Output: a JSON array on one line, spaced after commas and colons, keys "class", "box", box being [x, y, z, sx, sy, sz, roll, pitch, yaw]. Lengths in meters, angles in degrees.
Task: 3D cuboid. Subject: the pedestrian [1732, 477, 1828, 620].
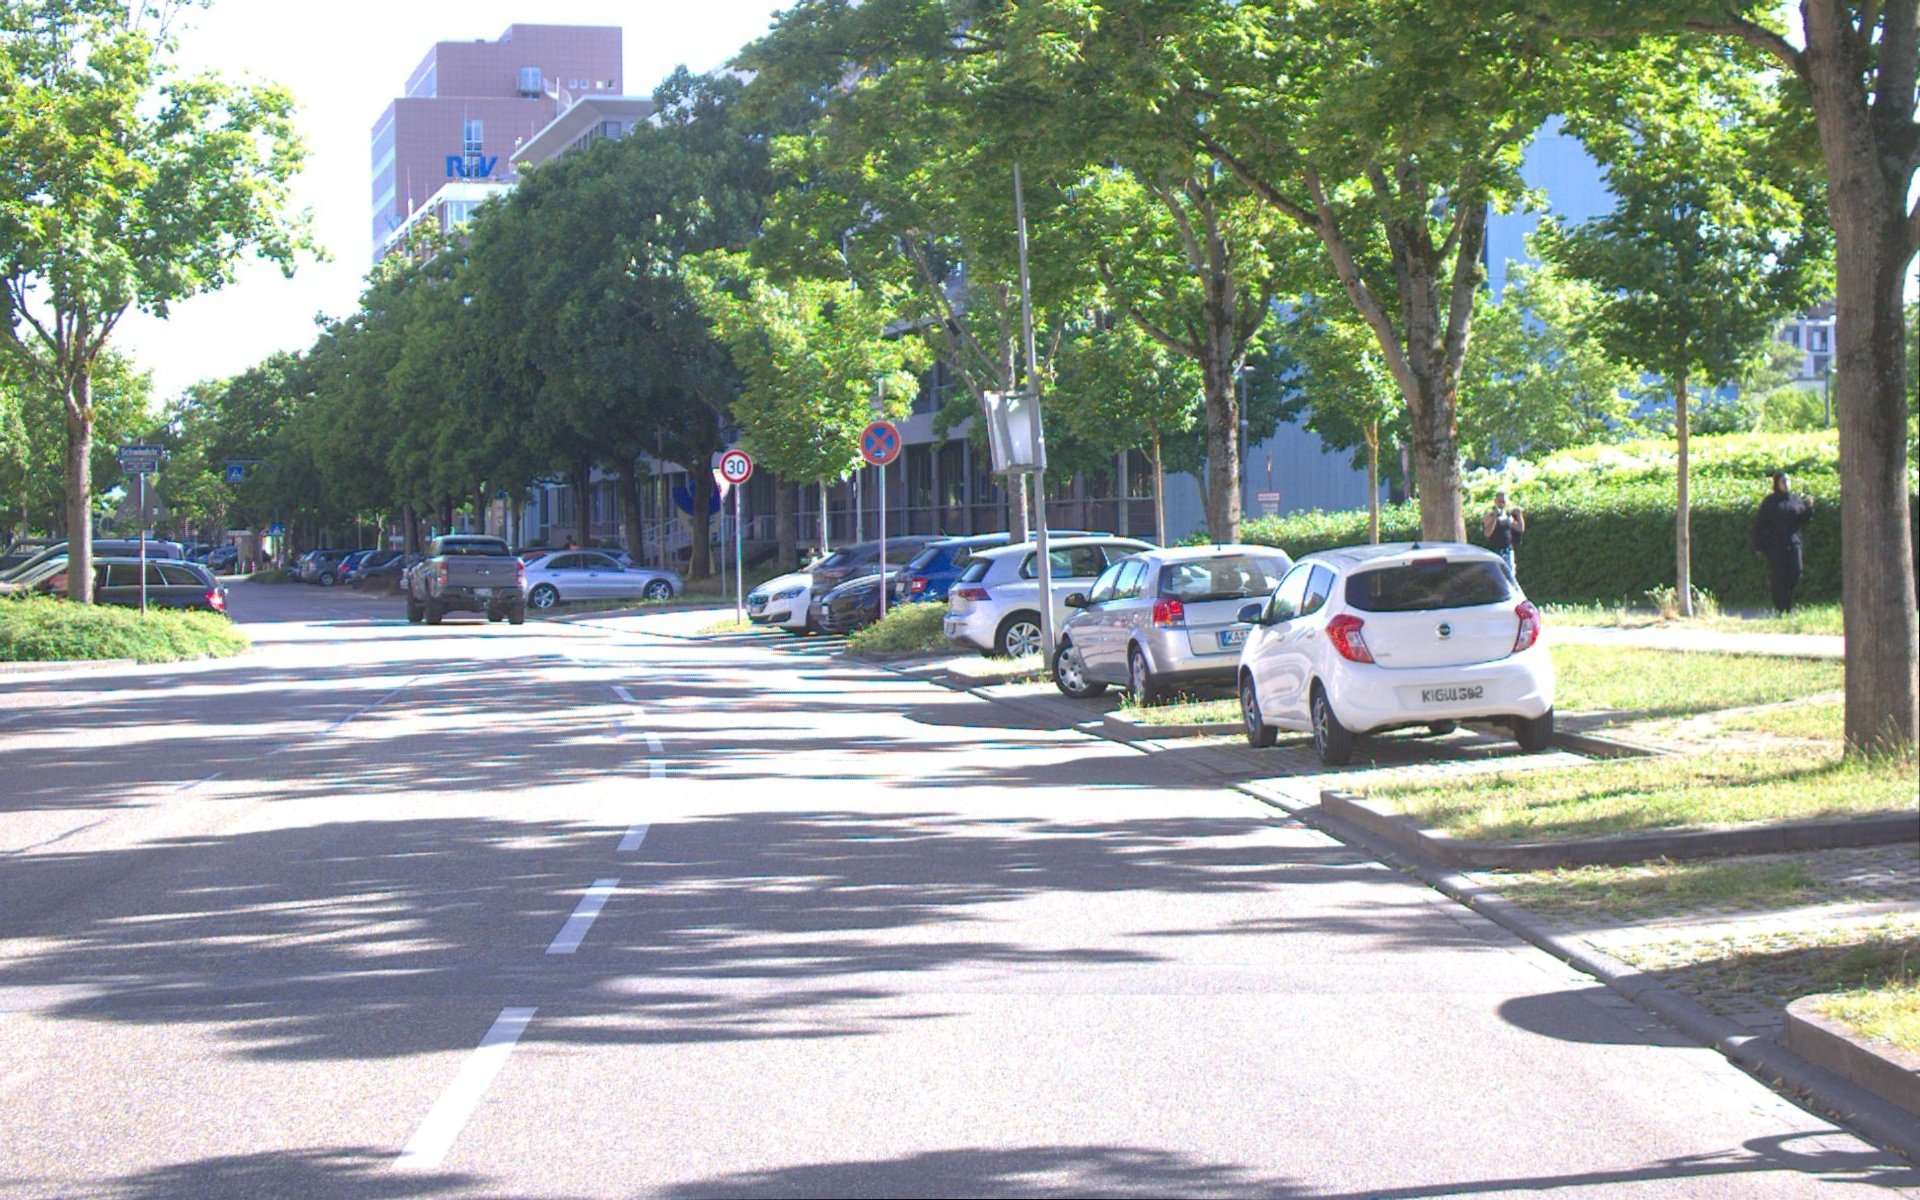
[{"class": "pedestrian", "box": [9.242, -0.584, 38.761, 0.723, 1.582, 0.853, -1, 1, -13]}]

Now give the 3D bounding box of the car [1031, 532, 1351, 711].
[{"class": "car", "box": [2.121, 0.164, 32.990, 1.808, 1.488, 4.625, -4, 1, -12]}]

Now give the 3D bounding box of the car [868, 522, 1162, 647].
[{"class": "car", "box": [0.774, -0.232, 49.221, 3.804, 1.443, 1.745, -5, 1, -12]}]

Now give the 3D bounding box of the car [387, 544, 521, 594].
[{"class": "car", "box": [-16.157, -0.986, 109.806, 3.968, 1.415, 1.711, -3, 1, -16]}]

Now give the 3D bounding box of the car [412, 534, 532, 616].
[{"class": "car", "box": [-10.160, -0.519, 71.399, 1.993, 1.634, 4.001, 1, 0, -15]}]

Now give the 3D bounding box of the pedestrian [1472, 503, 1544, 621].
[{"class": "pedestrian", "box": [7.228, -0.505, 45.373, 0.606, 1.537, 0.937, -1, 1, -13]}]

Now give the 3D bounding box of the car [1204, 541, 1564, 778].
[{"class": "car", "box": [2.987, 0.369, 24.960, 1.643, 1.488, 3.766, -4, 1, -7]}]

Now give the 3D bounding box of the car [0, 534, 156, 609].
[{"class": "car", "box": [-25.589, -0.825, 99.474, 4.486, 2.083, 2.083, 1, 0, -12]}]

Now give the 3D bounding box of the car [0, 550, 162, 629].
[{"class": "car", "box": [-16.754, -0.205, 63.456, 3.890, 1.419, 1.740, 1, 0, -14]}]

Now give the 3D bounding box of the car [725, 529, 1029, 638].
[{"class": "car", "box": [-1.371, -0.279, 56.780, 4.548, 1.509, 1.983, -4, 1, -20]}]

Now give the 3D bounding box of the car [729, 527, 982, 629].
[{"class": "car", "box": [-1.813, -0.377, 59.361, 3.947, 1.509, 1.702, -4, 1, -20]}]

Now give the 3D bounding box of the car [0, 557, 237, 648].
[{"class": "car", "box": [-14.018, 0.039, 56.189, 4.261, 1.419, 1.740, 1, 0, -11]}]

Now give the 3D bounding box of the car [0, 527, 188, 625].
[{"class": "car", "box": [-16.815, -0.461, 65.851, 3.890, 1.805, 1.786, 1, 0, -14]}]

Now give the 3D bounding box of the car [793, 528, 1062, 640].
[{"class": "car", "box": [-0.523, -0.261, 54.347, 3.874, 1.509, 1.751, -4, 1, -14]}]

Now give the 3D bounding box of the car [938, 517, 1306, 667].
[{"class": "car", "box": [1.915, -0.109, 41.275, 4.088, 1.424, 1.643, -5, 1, -7]}]

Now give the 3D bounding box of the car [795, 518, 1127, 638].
[{"class": "car", "box": [-0.007, -0.331, 51.845, 4.548, 1.509, 2.159, -4, 1, -14]}]

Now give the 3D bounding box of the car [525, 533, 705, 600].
[{"class": "car", "box": [-9.095, -0.894, 90.580, 4.514, 1.537, 1.922, -3, 1, -11]}]

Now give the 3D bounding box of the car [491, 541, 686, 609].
[{"class": "car", "box": [-9.297, -0.642, 85.923, 4.577, 1.470, 1.747, -3, 1, -14]}]

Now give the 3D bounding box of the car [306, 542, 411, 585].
[{"class": "car", "box": [-26.891, -1.641, 153.576, 4.350, 1.698, 1.813, -3, 1, -17]}]
